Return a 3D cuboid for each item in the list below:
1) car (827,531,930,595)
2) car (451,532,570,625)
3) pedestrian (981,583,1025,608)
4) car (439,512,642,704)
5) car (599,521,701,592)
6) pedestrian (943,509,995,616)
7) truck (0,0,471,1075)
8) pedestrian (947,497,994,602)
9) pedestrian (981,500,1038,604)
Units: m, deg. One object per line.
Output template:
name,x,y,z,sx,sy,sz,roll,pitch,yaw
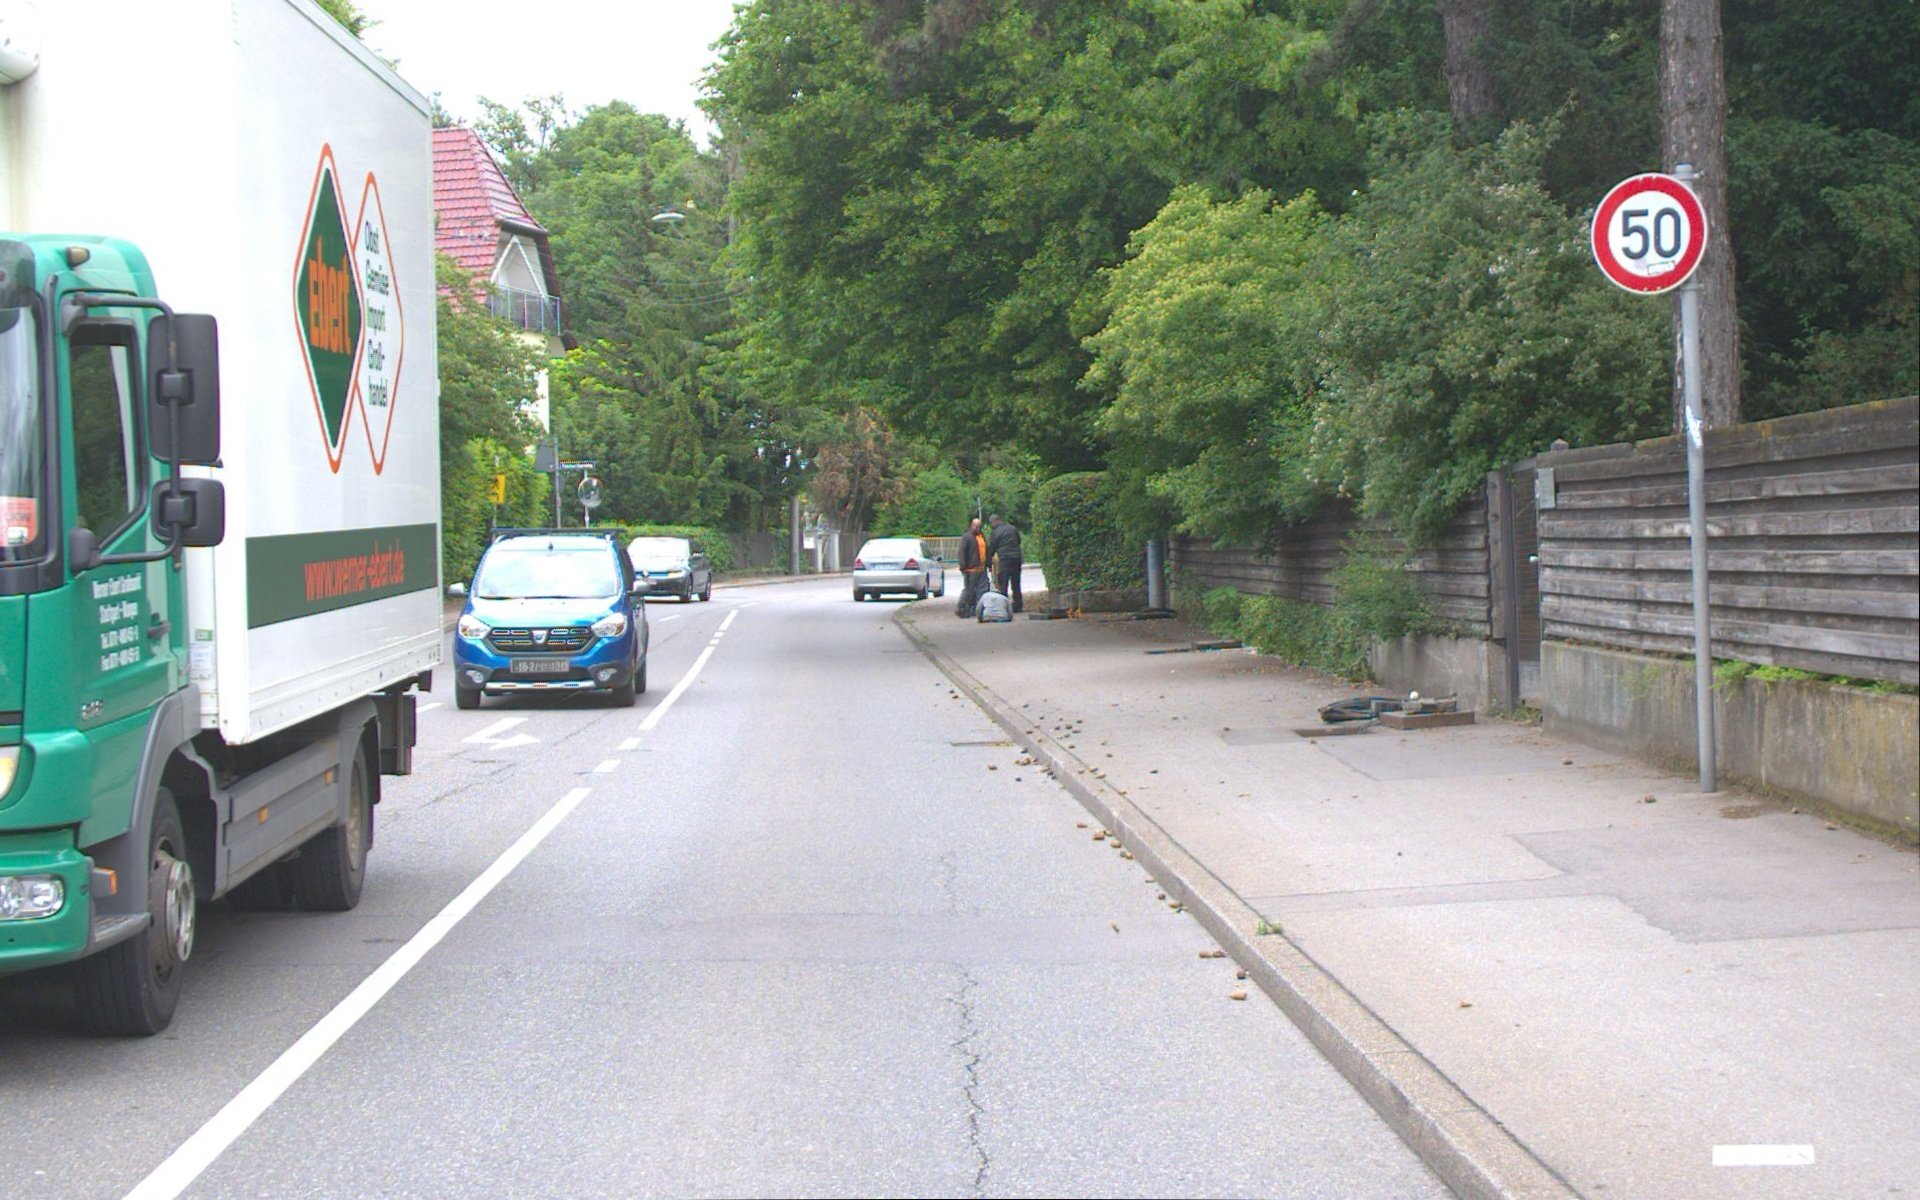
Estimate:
car,-1.852,-0.841,79.245,1.797,1.410,4.335,0,0,6
car,-7.639,-0.385,58.664,1.684,1.514,3.536,-1,1,-2
pedestrian,0.706,-0.078,56.806,0.672,0.392,0.741,-1,1,-3
car,-4.171,0.046,34.396,1.805,1.711,4.379,-3,1,-6
car,-6.747,-0.968,75.116,1.681,1.466,4.017,-1,1,3
pedestrian,0.149,-0.640,58.716,0.807,1.801,0.741,-1,1,-3
truck,-3.710,-0.442,12.796,2.777,3.449,7.494,-1,0,-1
pedestrian,0.181,-0.879,59.911,0.601,1.801,0.517,0,1,38
pedestrian,0.869,-0.846,60.181,0.689,1.801,0.673,-2,1,-43
